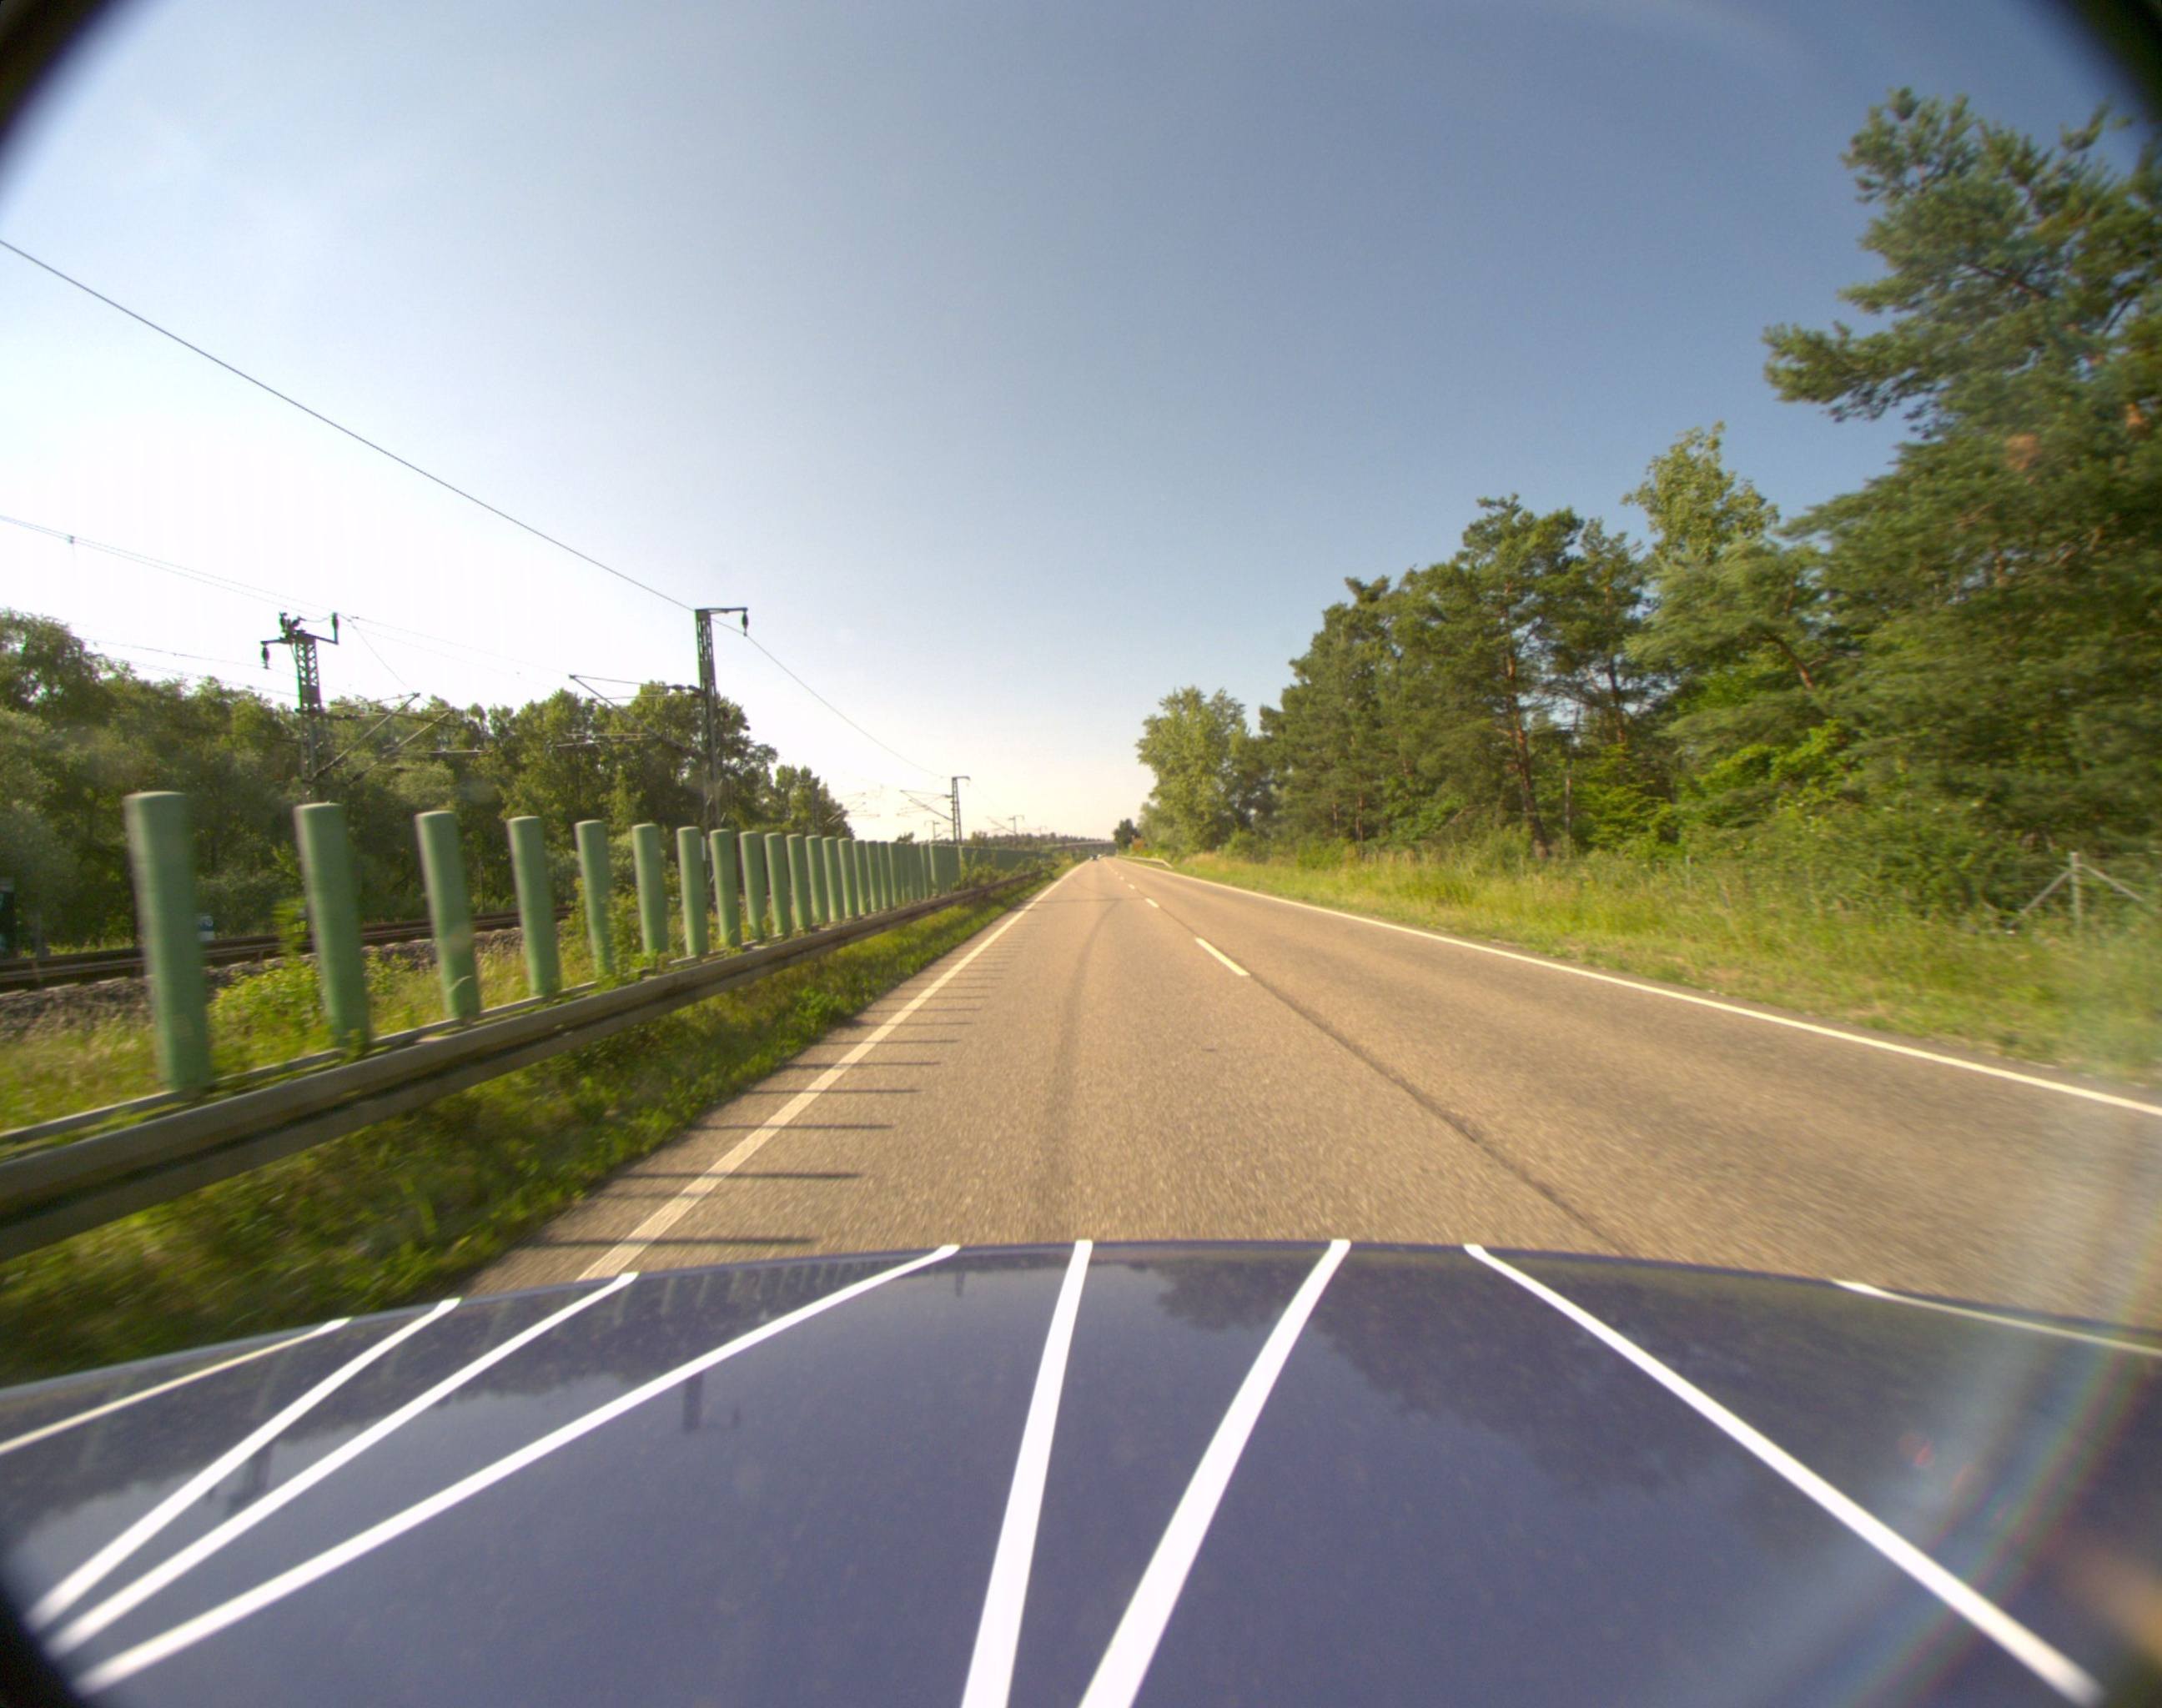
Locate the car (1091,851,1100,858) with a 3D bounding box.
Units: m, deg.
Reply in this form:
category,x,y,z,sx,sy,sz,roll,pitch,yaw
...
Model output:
category,x,y,z,sx,sy,sz,roll,pitch,yaw
car,3.287,0.065,169.430,1.868,1.533,4.076,-1,0,3
